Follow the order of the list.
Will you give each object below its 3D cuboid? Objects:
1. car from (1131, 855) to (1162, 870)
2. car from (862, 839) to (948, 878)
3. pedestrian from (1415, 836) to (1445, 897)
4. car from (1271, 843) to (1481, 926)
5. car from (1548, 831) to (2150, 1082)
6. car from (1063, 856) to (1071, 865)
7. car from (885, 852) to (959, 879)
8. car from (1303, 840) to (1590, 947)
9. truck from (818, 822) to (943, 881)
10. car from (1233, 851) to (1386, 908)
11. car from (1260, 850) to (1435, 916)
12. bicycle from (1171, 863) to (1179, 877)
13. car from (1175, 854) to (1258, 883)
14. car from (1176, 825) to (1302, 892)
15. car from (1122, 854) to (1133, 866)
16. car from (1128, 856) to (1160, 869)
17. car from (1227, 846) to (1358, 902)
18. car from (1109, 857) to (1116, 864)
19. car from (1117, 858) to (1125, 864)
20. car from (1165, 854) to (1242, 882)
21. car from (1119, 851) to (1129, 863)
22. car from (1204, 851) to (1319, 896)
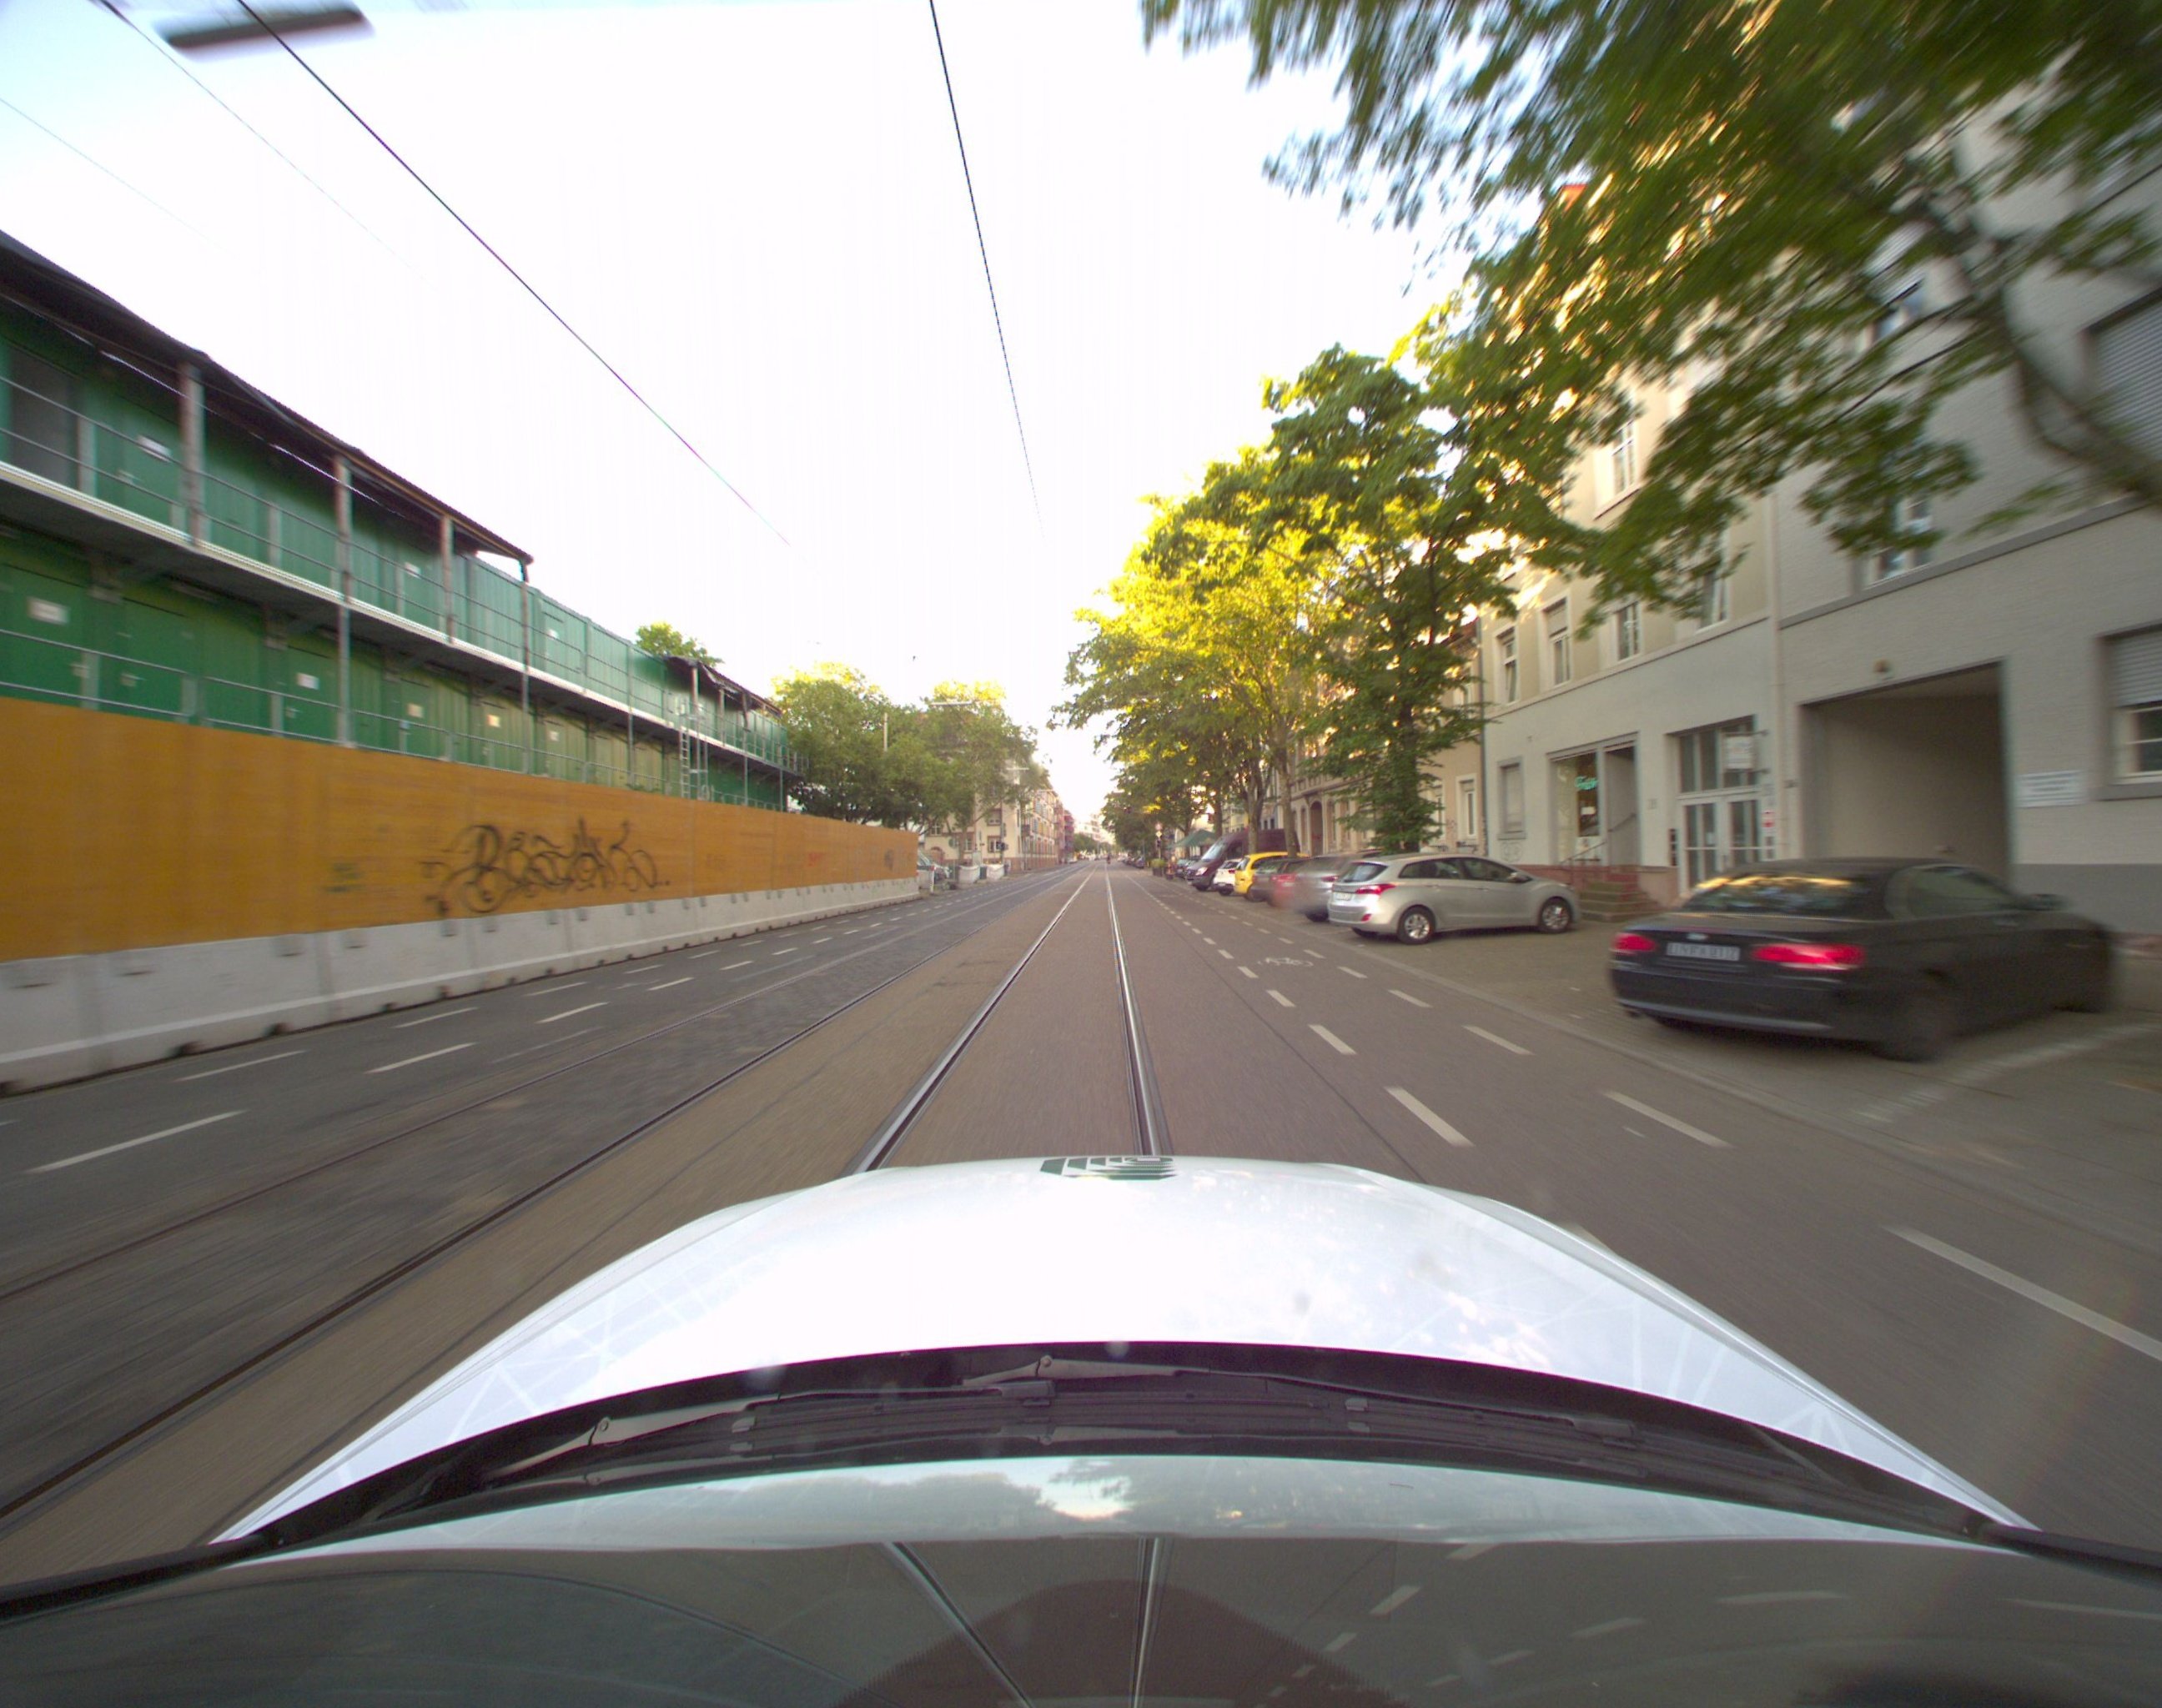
[{"bbox_3d":[8.352,1.069,103.701,3.872,1.848,1.862,-1,-1,2],"label":"car"},{"bbox_3d":[-11.996,0.311,55.847,5.384,2.558,2.226,1,0,-2],"label":"car"},{"bbox_3d":[10.604,0.375,24.756,0.564,1.814,0.606,-2,-1,-2],"label":"pedestrian"},{"bbox_3d":[6.720,0.655,18.579,4.267,1.560,1.884,-3,-1,-22],"label":"car"},{"bbox_3d":[6.304,0.631,6.737,4.268,1.392,2.000,-3,-1,-22],"label":"car"},{"bbox_3d":[-3.642,1.679,209.171,1.891,2.178,4.001,-1,0,2],"label":"car"},{"bbox_3d":[-12.000,0.834,61.707,5.001,1.945,2.230,1,0,5],"label":"car"},{"bbox_3d":[6.444,0.650,14.595,4.250,1.549,2.013,-3,-1,-10],"label":"car"},{"bbox_3d":[-12.200,-0.153,50.001,7.039,3.480,2.539,1,0,-2],"label":"truck"},{"bbox_3d":[6.894,0.754,24.546,4.141,1.425,1.905,-3,-1,-24],"label":"car"},{"bbox_3d":[7.040,0.724,21.523,4.141,1.425,1.882,-3,-1,-24],"label":"car"},{"bbox_3d":[6.933,1.176,60.360,0.417,1.015,1.830,-1,0,2],"label":"bicycle"},{"bbox_3d":[7.764,0.829,46.778,4.182,1.462,1.998,-2,-1,-15],"label":"car"},{"bbox_3d":[7.068,0.205,36.587,5.105,2.642,2.011,-3,-1,-16],"label":"car"},{"bbox_3d":[7.936,1.050,137.869,1.715,2.014,4.001,-1,0,2],"label":"car"},{"bbox_3d":[7.666,1.034,99.001,3.872,1.592,1.862,-1,0,2],"label":"car"},{"bbox_3d":[7.130,0.662,27.796,3.935,1.619,1.921,-3,-1,2],"label":"car"},{"bbox_3d":[8.650,1.736,223.800,1.891,2.014,4.001,-1,0,2],"label":"car"},{"bbox_3d":[11.551,1.885,235.070,1.956,1.718,4.001,-1,0,2],"label":"car"},{"bbox_3d":[7.450,0.855,49.604,4.193,1.498,1.993,-2,-1,-23],"label":"car"},{"bbox_3d":[7.651,0.525,145.219,1.798,2.014,4.001,-1,0,2],"label":"car"},{"bbox_3d":[7.043,0.767,31.879,3.967,1.486,1.906,-3,-1,-23],"label":"car"}]
